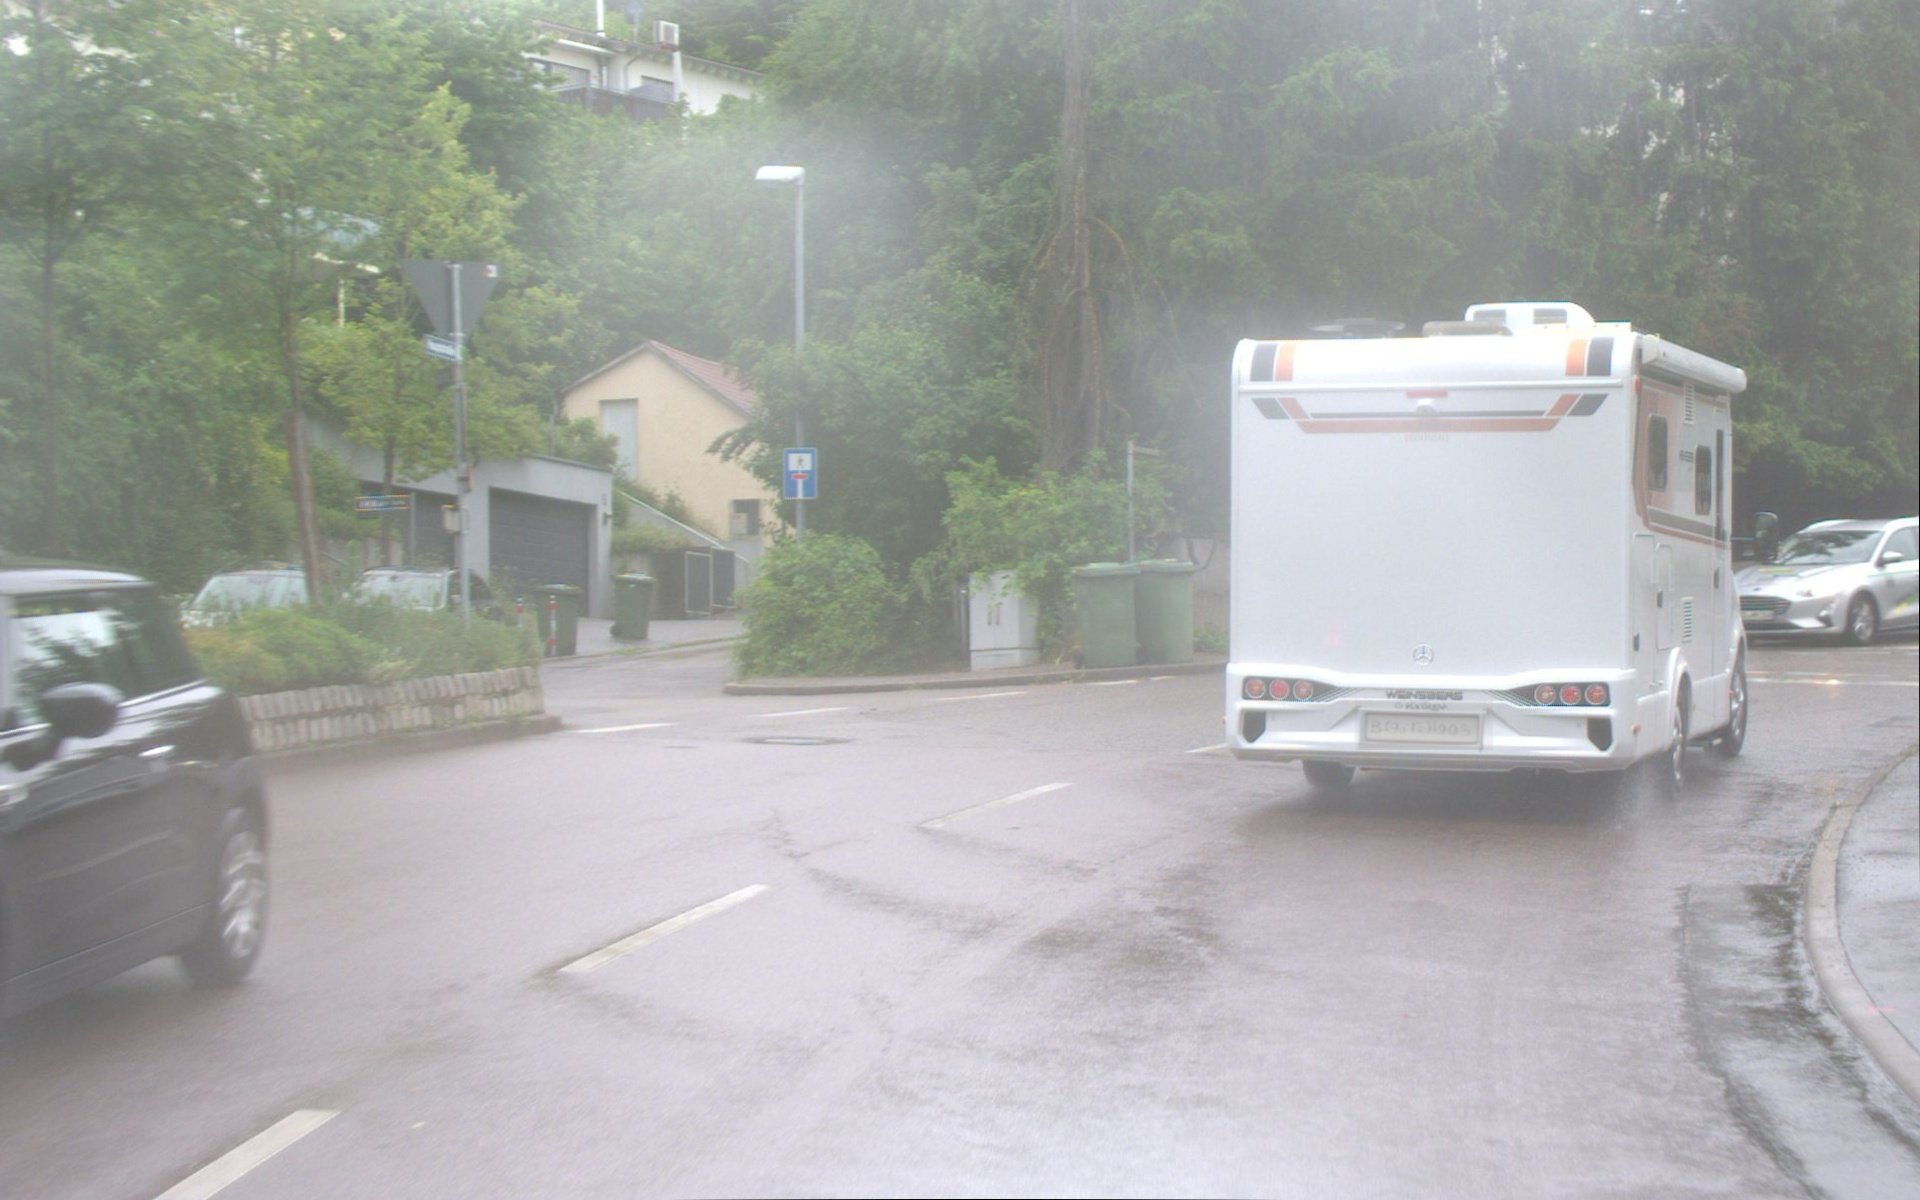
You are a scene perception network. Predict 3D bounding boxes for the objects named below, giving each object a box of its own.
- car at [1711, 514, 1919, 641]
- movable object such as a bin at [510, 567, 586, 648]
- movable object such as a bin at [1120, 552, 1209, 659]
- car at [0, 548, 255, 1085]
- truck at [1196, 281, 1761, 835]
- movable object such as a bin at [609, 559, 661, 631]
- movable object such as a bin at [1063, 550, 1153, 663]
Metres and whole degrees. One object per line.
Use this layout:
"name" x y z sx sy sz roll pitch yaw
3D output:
"car" 10.630 -0.295 40.494 1.599 1.408 4.226 2 2 42
"movable object such as a bin" -6.230 0.104 52.010 0.853 1.194 0.932 1 1 14
"movable object such as a bin" 2.105 0.056 35.390 0.704 1.084 0.560 0 1 -33
"car" -3.321 0.559 9.541 1.677 1.400 3.677 1 1 5
"truck" 3.341 -0.275 20.742 2.517 2.808 6.197 1 1 16
"movable object such as a bin" -5.543 -0.090 58.641 0.705 1.218 0.590 1 1 17
"movable object such as a bin" 1.505 0.062 34.998 0.666 1.135 0.626 0 1 -33
